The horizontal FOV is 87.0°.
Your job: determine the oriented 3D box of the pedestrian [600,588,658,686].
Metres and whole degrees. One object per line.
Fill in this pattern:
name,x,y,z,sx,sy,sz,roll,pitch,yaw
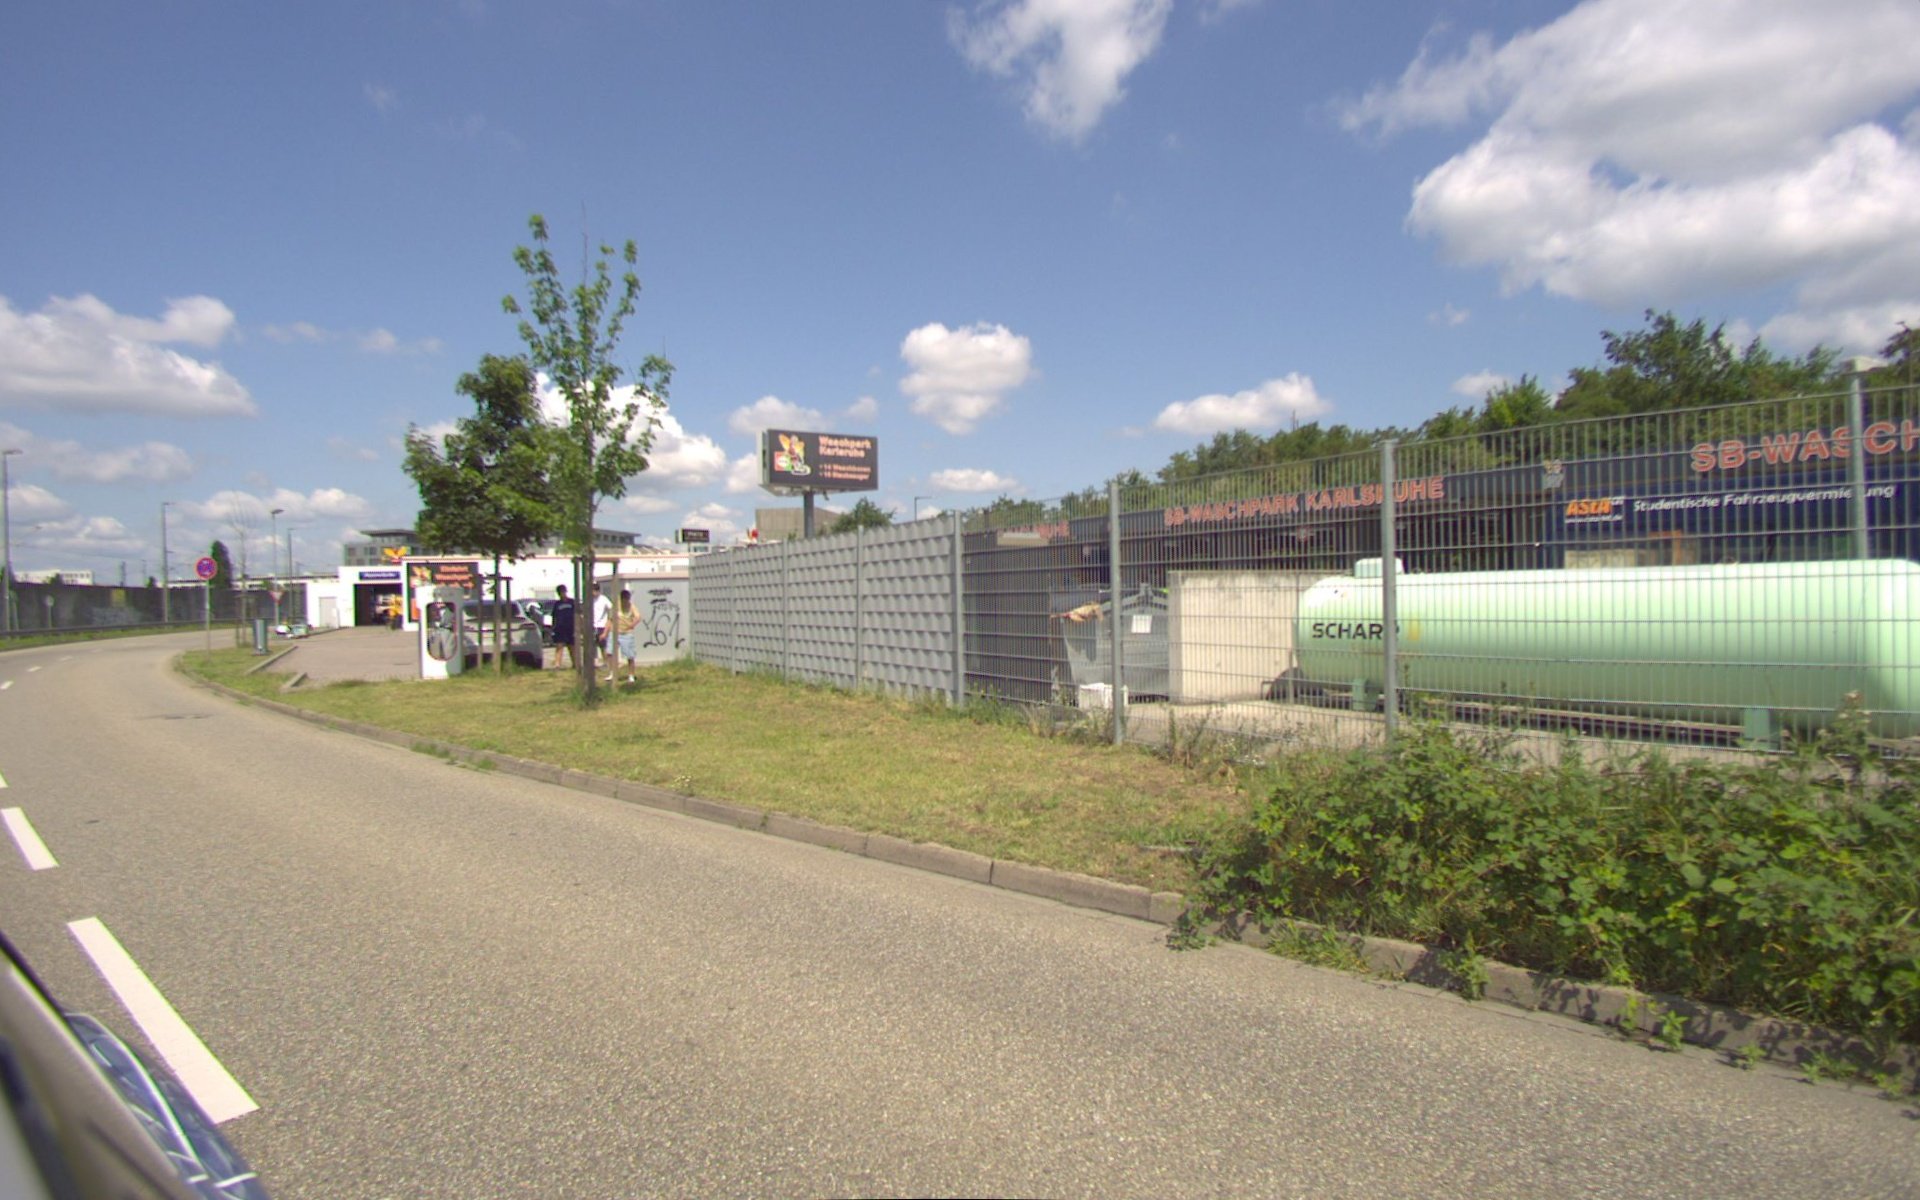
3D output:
pedestrian,-5.437,0.591,16.600,0.727,1.553,0.818,-1,0,-30

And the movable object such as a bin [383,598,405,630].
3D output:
movable object such as a bin,-41.223,1.004,73.753,1.047,2.168,2.713,-1,2,-23

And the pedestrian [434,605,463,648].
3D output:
pedestrian,-20.288,1.042,40.120,0.851,1.666,0.943,-2,0,-35

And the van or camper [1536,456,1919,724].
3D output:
van or camper,8.485,-0.094,9.503,1.848,2.233,5.124,-1,0,-29

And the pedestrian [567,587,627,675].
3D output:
pedestrian,-6.606,0.555,18.437,0.751,1.577,0.710,-1,0,13

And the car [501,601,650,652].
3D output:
car,-13.398,0.887,35.373,4.491,1.535,2.005,-2,1,-35

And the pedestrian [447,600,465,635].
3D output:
pedestrian,-30.031,1.008,60.335,0.924,2.028,0.868,-1,2,-25

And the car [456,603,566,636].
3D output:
car,-22.448,0.966,50.646,4.682,1.466,2.243,-2,0,-35

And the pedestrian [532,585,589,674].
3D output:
pedestrian,-7.317,0.529,18.559,0.704,1.591,0.721,-1,0,5

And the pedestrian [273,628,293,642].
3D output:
pedestrian,-39.264,2.030,58.703,0.850,0.766,0.821,1,-2,-25

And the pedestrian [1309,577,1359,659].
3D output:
pedestrian,8.151,0.381,22.078,0.683,1.762,0.747,-1,0,-31

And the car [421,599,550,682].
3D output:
car,-10.408,0.864,21.972,1.904,1.529,4.788,-2,-1,-32

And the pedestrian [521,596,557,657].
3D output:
pedestrian,-12.565,0.775,30.208,0.850,1.765,0.729,-2,1,-33

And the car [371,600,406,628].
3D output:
car,-46.627,1.115,82.648,1.965,2.125,5.027,-1,0,-24
